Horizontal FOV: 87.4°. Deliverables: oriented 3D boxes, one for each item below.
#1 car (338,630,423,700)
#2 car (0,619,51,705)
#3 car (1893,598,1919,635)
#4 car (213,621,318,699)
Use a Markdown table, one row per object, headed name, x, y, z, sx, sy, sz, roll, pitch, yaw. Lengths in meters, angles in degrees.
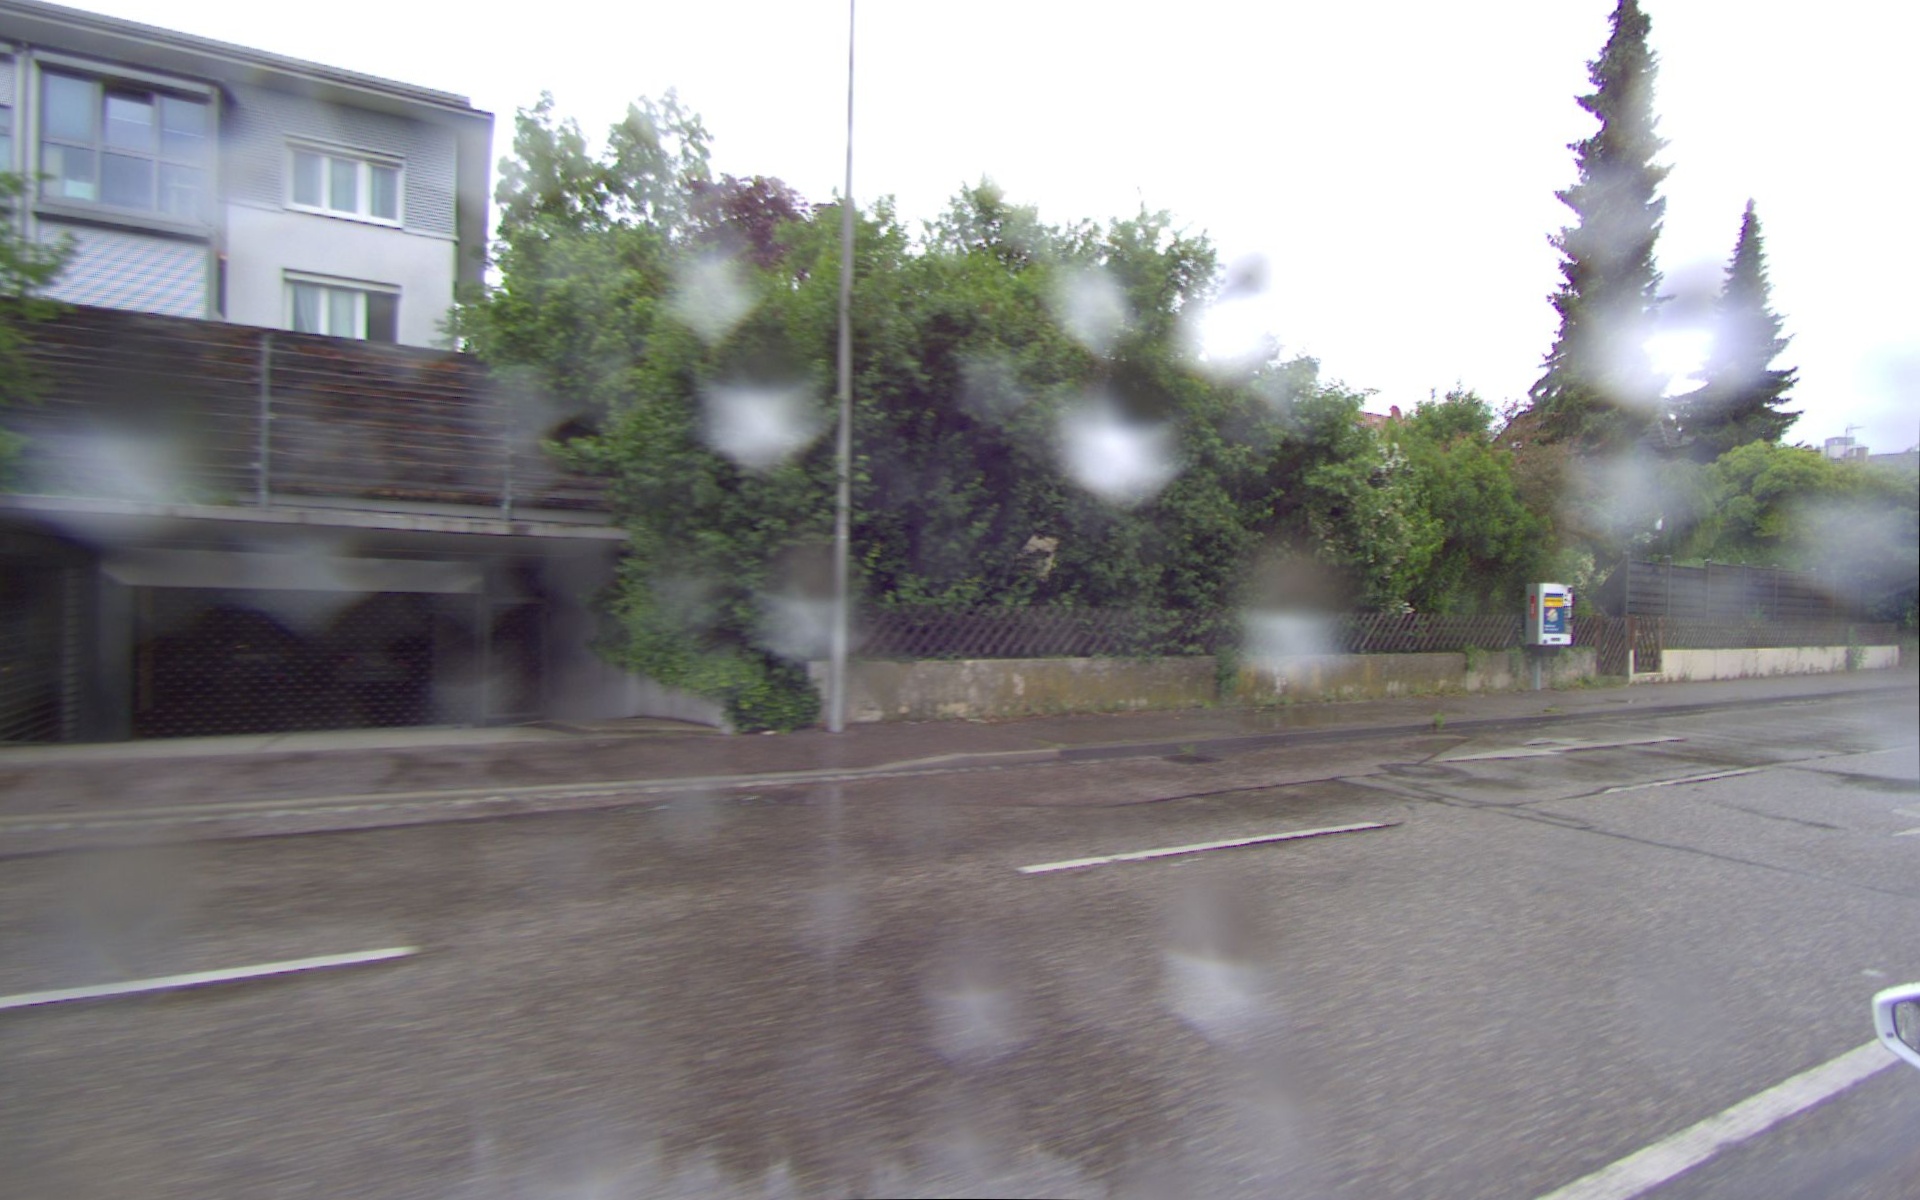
| name | x | y | z | sx | sy | sz | roll | pitch | yaw |
| --- | --- | --- | --- | --- | --- | --- | --- | --- | --- |
| car | -13.648 | 1.478 | 23.798 | 1.602 | 1.417 | 3.333 | 1 | 0 | -28 |
| car | -20.049 | 1.224 | 20.366 | 1.602 | 1.609 | 3.428 | 1 | 0 | -28 |
| car | 44.048 | 0.838 | 44.105 | 1.933 | 1.606 | 4.079 | 1 | 2 | -29 |
| car | -16.081 | 1.330 | 23.400 | 1.602 | 1.609 | 3.333 | 1 | 0 | -28 |
